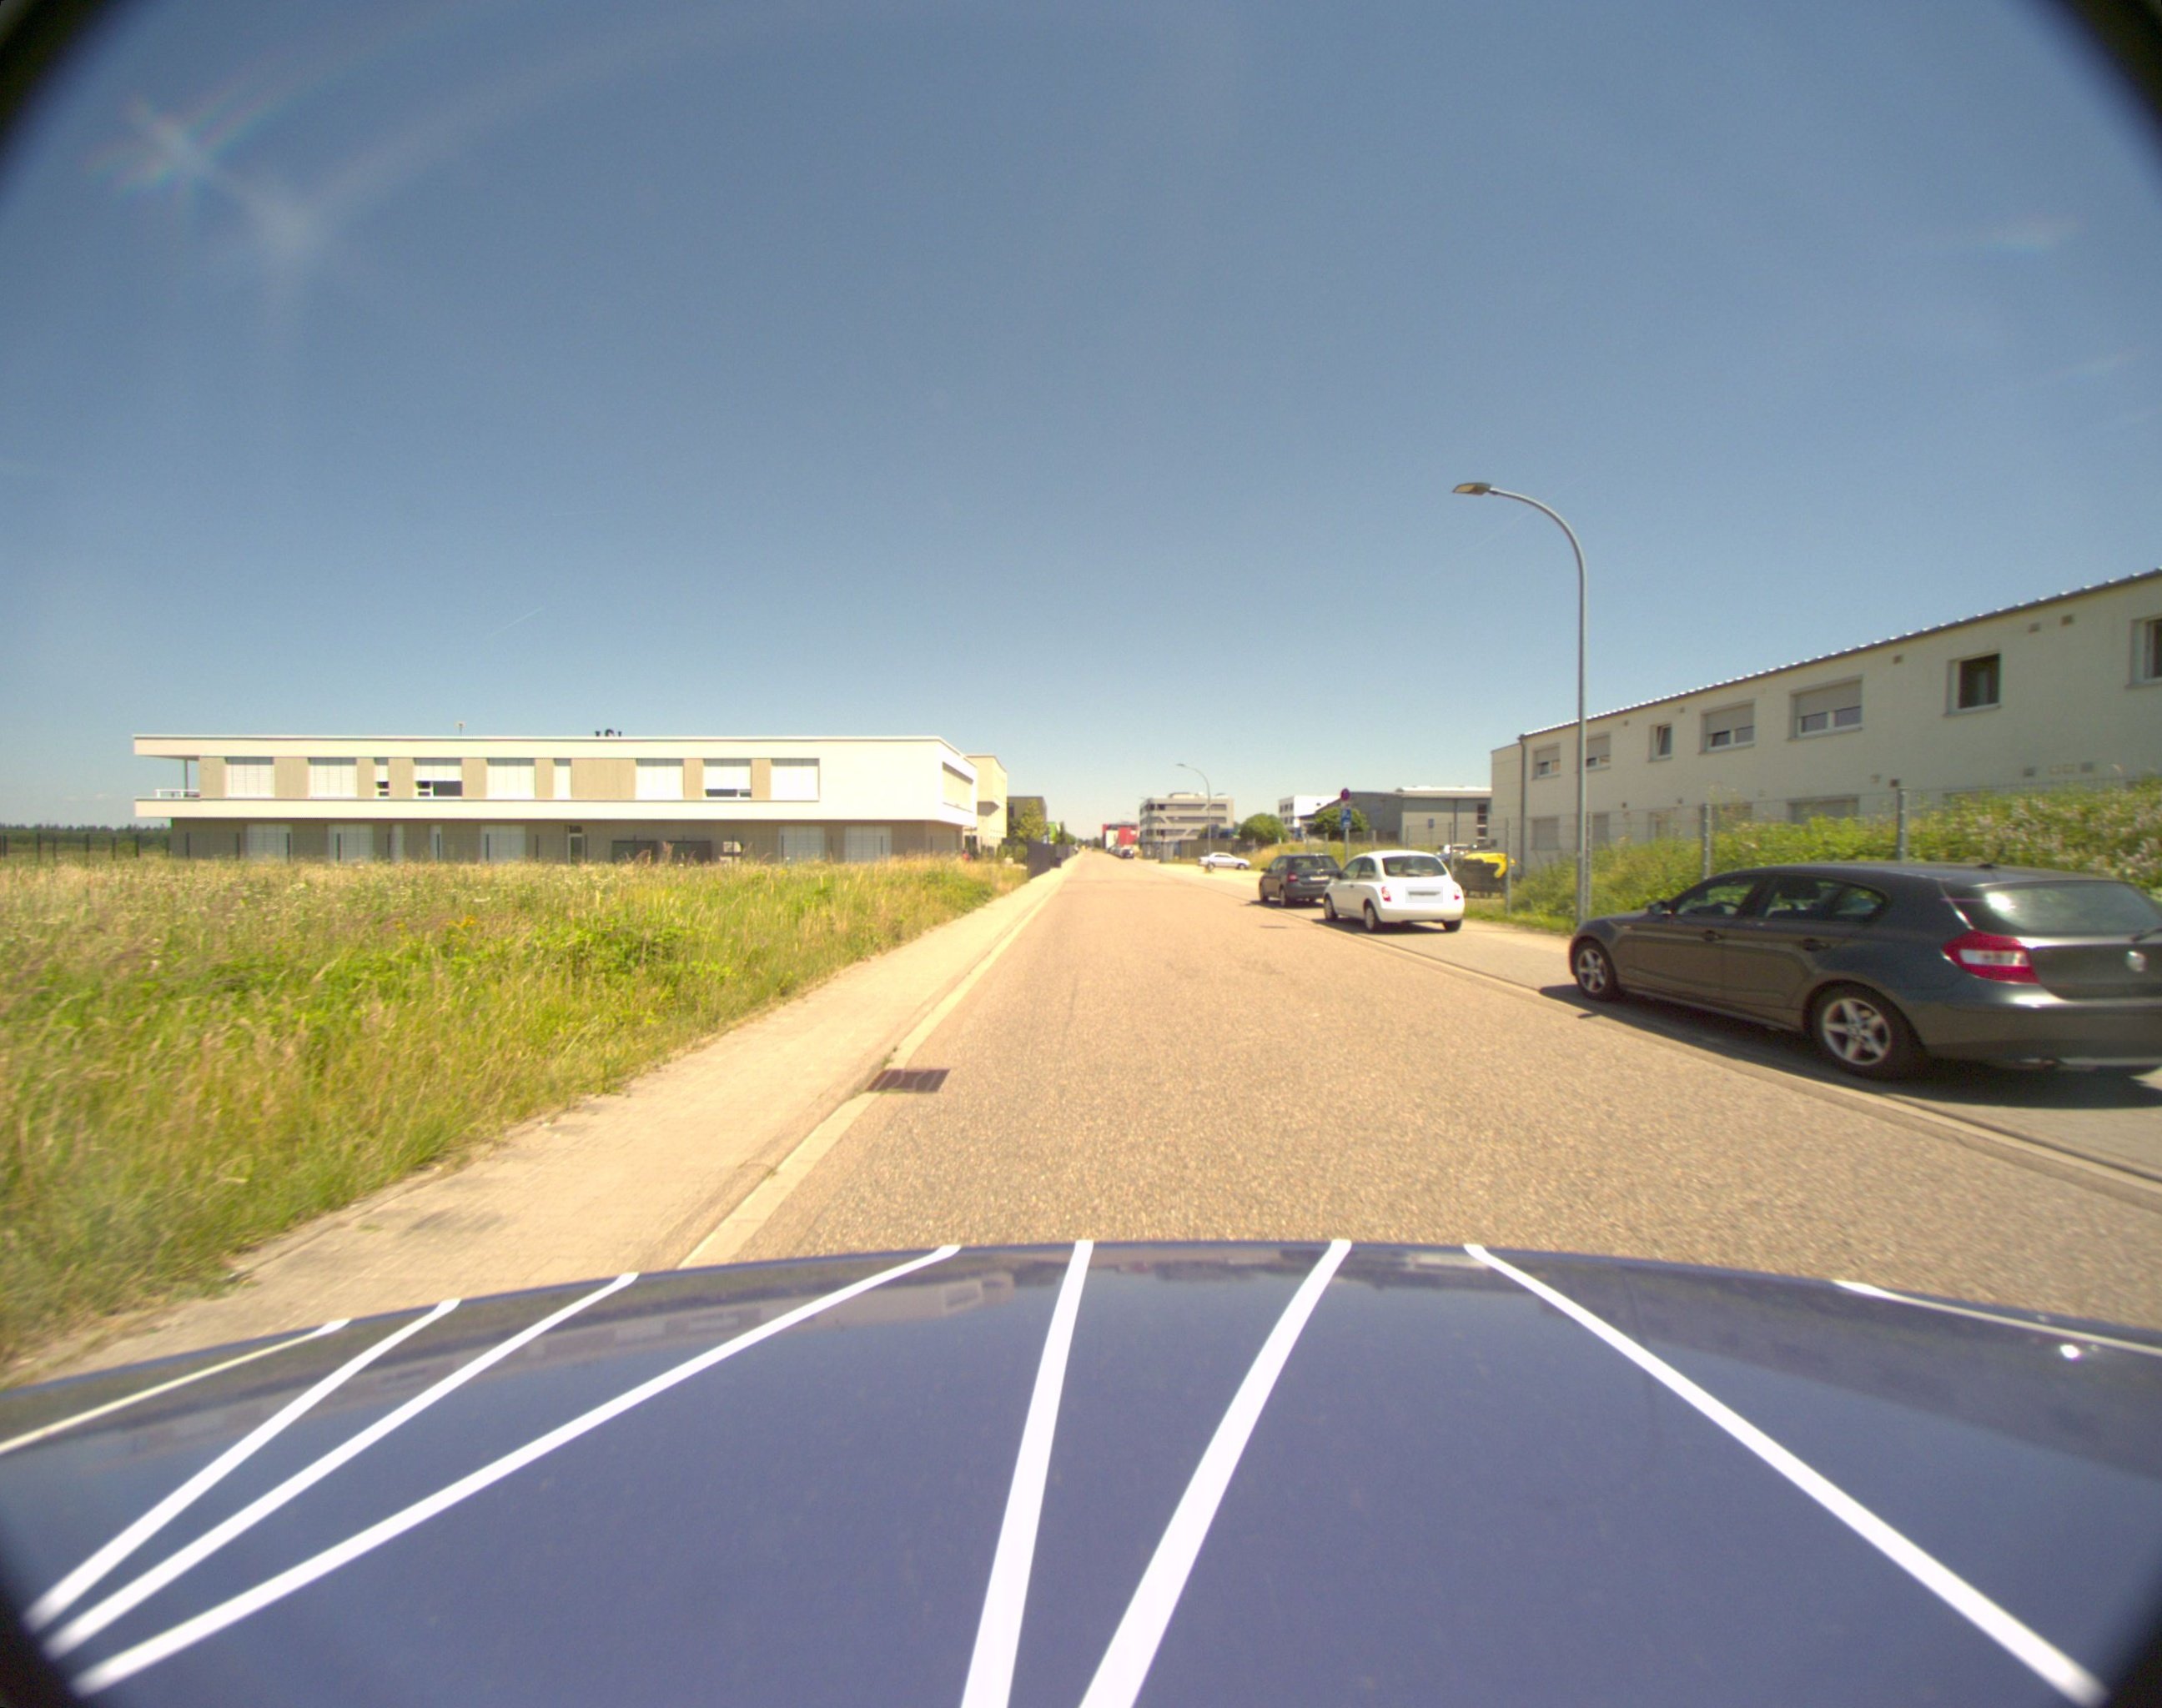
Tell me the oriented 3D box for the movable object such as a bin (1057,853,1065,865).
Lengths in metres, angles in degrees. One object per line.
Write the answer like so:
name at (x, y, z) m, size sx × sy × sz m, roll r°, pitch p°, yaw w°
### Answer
movable object such as a bin at (-1.814, 0.470, 69.485) m, size 0.749 × 1.042 × 0.698 m, roll 1°, pitch 2°, yaw 1°

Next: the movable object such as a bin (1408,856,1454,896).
movable object such as a bin at (13.281, 0.807, 28.862) m, size 1.146 × 1.440 × 1.434 m, roll -1°, pitch 1°, yaw 3°

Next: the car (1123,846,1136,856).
car at (7.431, -0.514, 116.690) m, size 1.695 × 1.482 × 3.660 m, roll -2°, pitch 1°, yaw 1°

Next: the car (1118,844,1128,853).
car at (8.133, -1.105, 147.728) m, size 1.659 × 1.573 × 3.777 m, roll -2°, pitch 1°, yaw 1°

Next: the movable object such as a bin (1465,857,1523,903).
movable object such as a bin at (13.182, 0.813, 24.297) m, size 1.145 × 1.397 × 1.388 m, roll -1°, pitch 1°, yaw 3°

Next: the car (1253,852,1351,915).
car at (6.186, 0.768, 21.700) m, size 1.678 × 1.521 × 3.909 m, roll -1°, pitch 1°, yaw 1°

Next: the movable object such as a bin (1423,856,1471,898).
movable object such as a bin at (13.180, 0.801, 27.384) m, size 1.127 × 1.440 × 1.371 m, roll -1°, pitch 1°, yaw 3°

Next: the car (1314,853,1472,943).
car at (6.117, 0.789, 15.379) m, size 1.678 × 1.521 × 3.757 m, roll 0°, pitch 1°, yaw 1°

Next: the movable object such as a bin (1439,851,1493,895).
movable object such as a bin at (13.106, 0.619, 25.917) m, size 1.090 × 1.440 × 1.388 m, roll -1°, pitch 1°, yaw -4°

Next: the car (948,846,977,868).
car at (-8.973, 0.246, 57.713) m, size 1.673 × 1.548 × 4.077 m, roll 0°, pitch -1°, yaw -2°

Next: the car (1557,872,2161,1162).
car at (5.897, 0.915, 6.065) m, size 1.678 × 1.442 × 4.069 m, roll 0°, pitch 0°, yaw 1°

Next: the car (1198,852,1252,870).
car at (12.044, 0.577, 63.706) m, size 4.257 × 1.371 × 1.862 m, roll 0°, pitch 1°, yaw 2°
